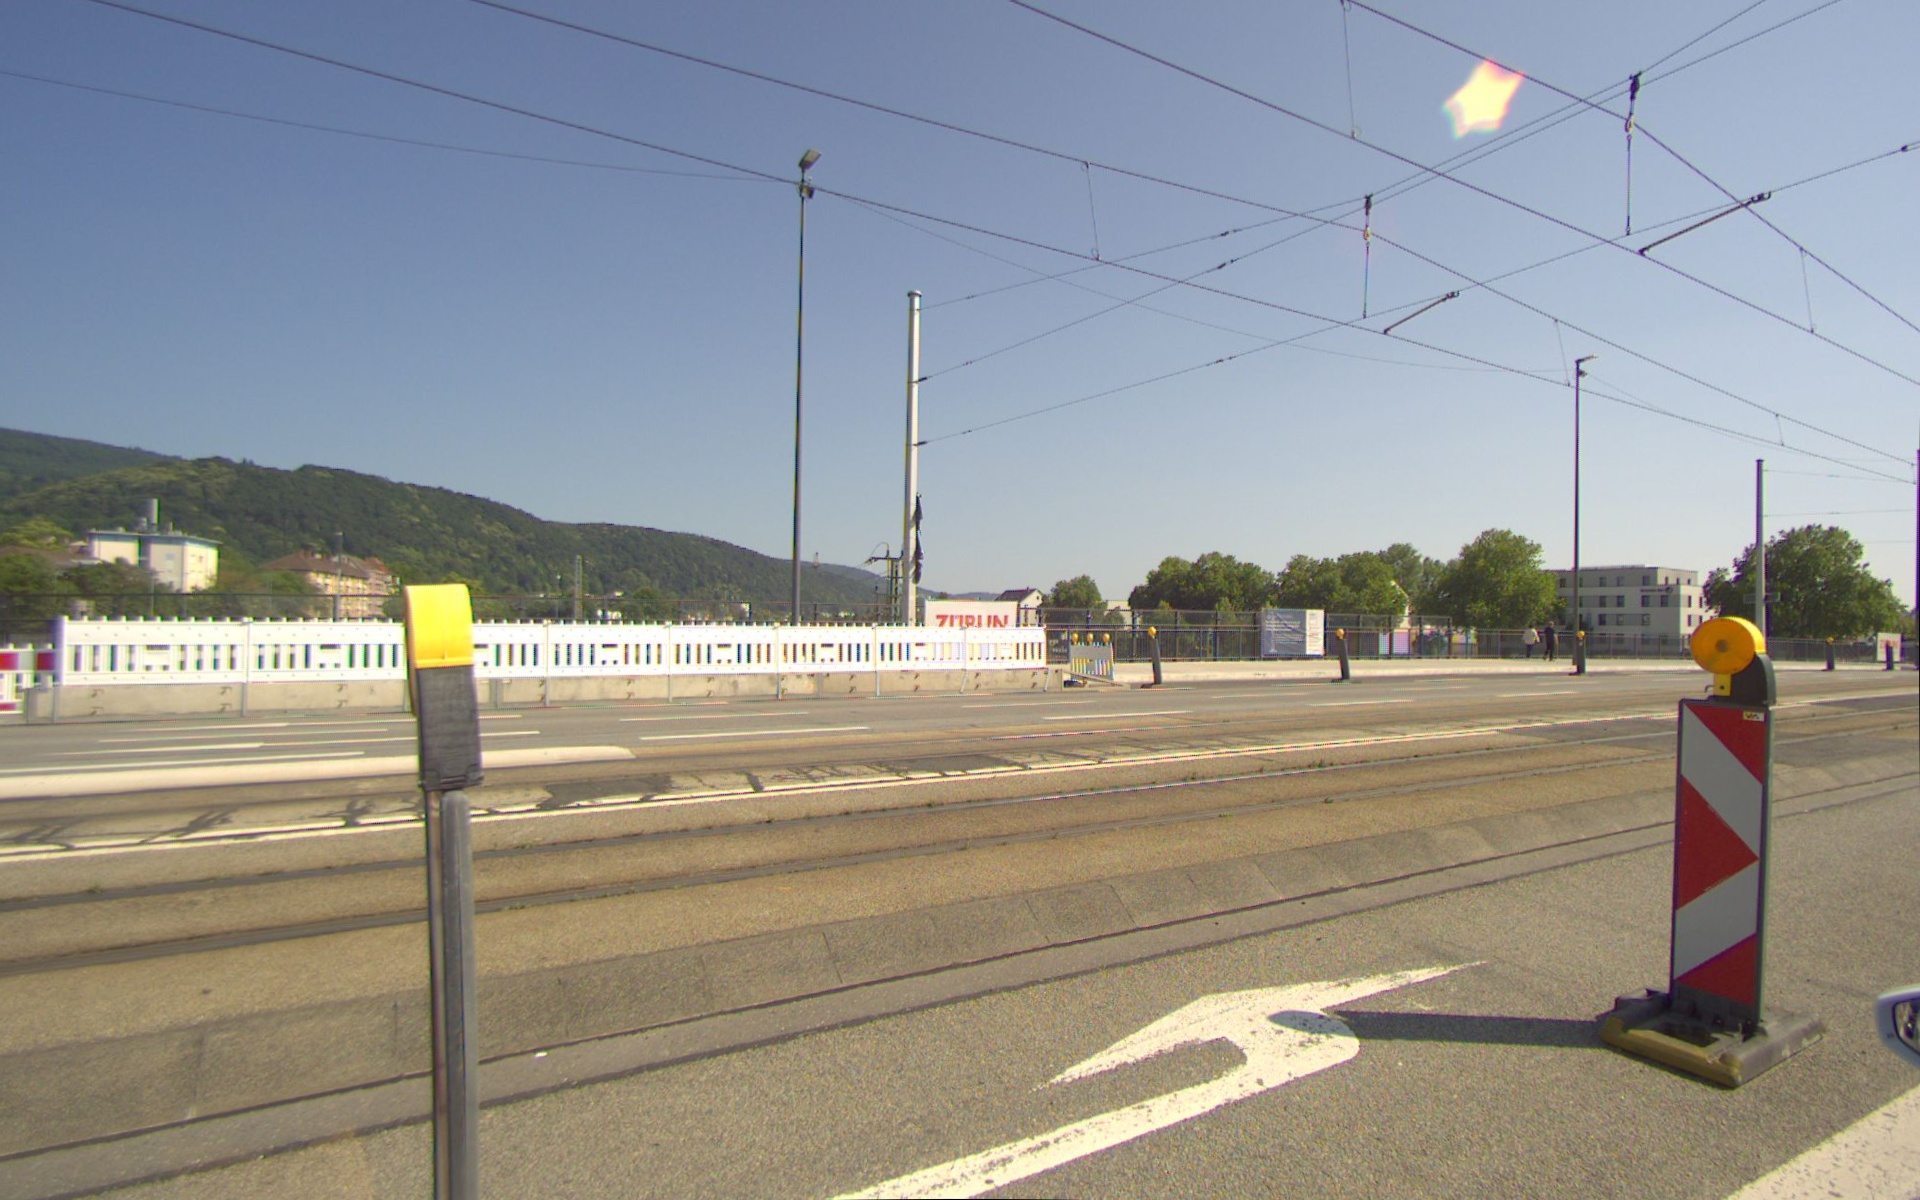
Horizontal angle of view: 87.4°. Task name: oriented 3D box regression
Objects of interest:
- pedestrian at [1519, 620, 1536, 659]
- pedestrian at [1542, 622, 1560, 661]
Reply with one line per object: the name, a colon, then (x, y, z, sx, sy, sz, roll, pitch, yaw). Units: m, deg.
pedestrian: (25.786, 1.792, 45.653, 0.468, 1.717, 0.493, 2, 0, -30)
pedestrian: (26.272, 1.846, 44.680, 0.468, 1.717, 0.493, 2, 0, -30)
